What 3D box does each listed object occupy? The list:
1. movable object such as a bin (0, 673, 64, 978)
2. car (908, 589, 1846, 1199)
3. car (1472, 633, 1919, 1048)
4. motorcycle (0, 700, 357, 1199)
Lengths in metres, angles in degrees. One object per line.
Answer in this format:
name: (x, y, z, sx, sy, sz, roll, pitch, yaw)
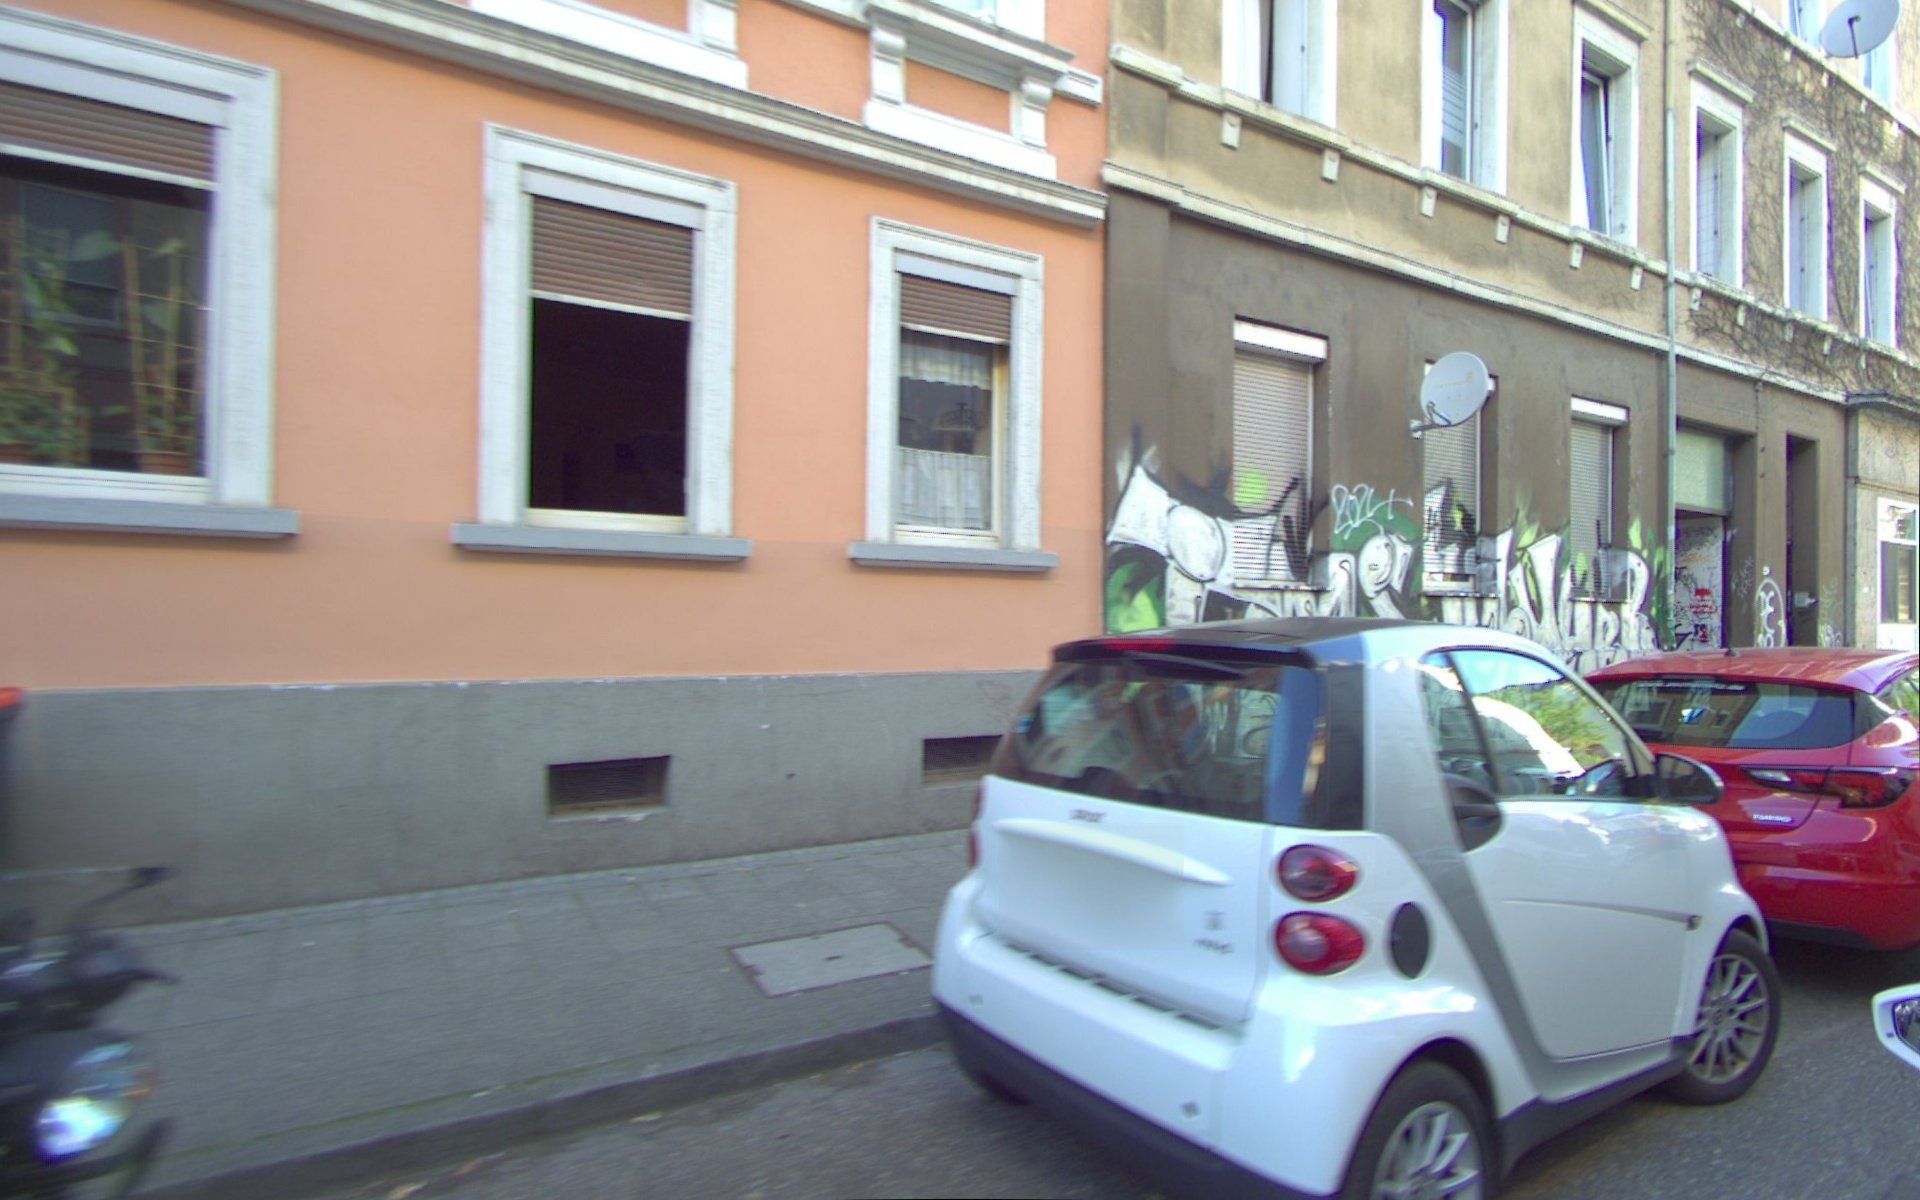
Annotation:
movable object such as a bin: (-3.812, 0.832, 3.609, 0.652, 1.063, 0.776, 1, 1, -22)
car: (1.494, 0.821, 3.458, 2.930, 1.569, 1.669, 1, -2, -35)
car: (4.790, 0.954, 5.462, 4.157, 1.492, 1.670, 1, -3, -32)
motorcycle: (-2.063, 0.882, 2.010, 2.049, 1.143, 0.787, 2, 0, 38)
